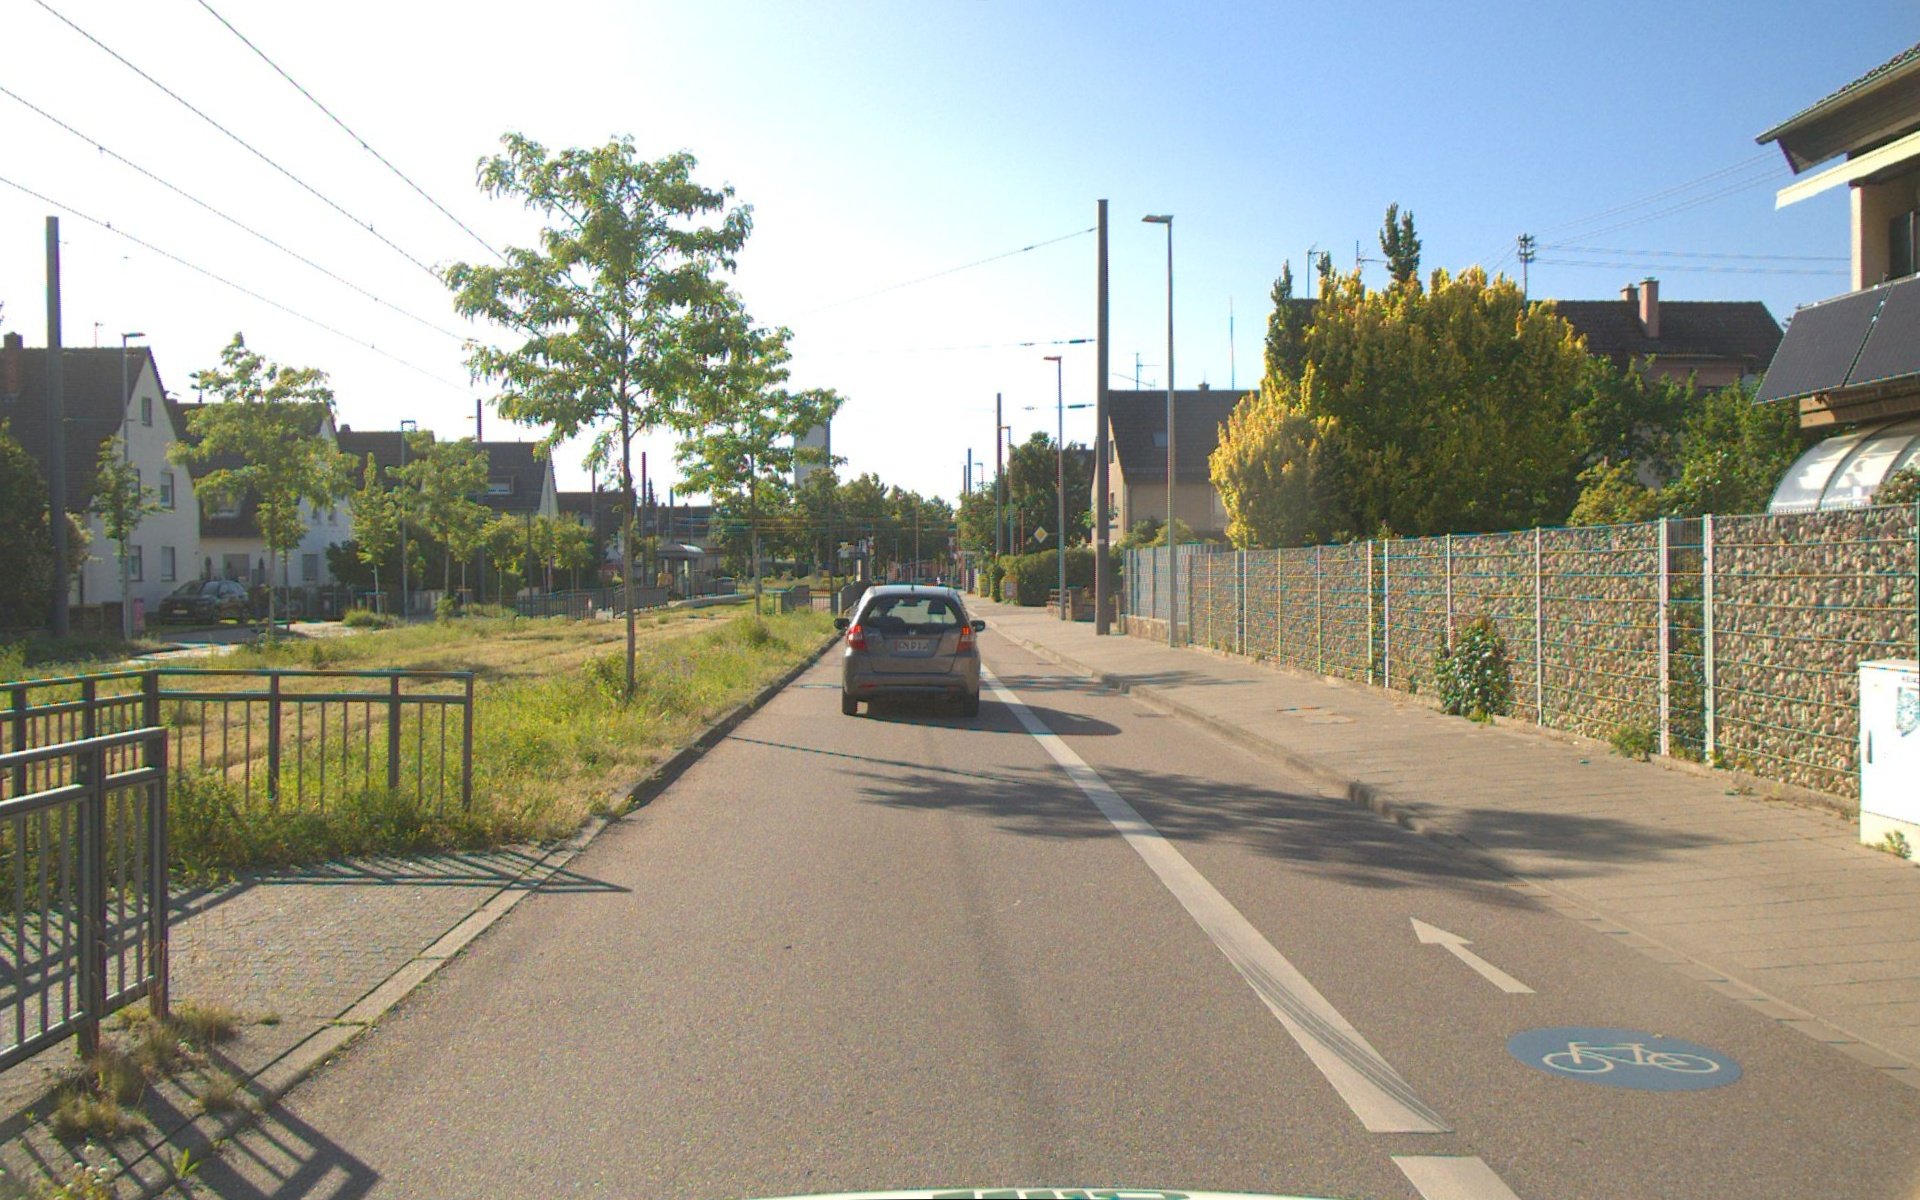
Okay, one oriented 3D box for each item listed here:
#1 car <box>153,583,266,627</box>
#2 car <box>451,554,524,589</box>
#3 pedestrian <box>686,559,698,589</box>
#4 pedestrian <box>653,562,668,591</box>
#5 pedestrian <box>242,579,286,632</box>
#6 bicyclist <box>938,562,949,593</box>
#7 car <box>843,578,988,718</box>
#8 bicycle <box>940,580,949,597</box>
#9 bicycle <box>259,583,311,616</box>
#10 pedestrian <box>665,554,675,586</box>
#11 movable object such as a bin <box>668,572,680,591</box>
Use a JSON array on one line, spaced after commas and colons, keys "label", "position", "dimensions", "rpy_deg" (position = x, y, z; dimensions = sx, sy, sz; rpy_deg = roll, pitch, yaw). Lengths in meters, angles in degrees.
[{"label": "car", "position": [-27.198, 0.147, 60.162], "dimensions": [1.895, 1.475, 5.161], "rpy_deg": [-1, 1, -2]}, {"label": "car", "position": [-27.513, -1.661, 96.400], "dimensions": [3.914, 2.004, 1.929], "rpy_deg": [1, 0, -10]}, {"label": "pedestrian", "position": [-15.811, -1.527, 97.695], "dimensions": [0.490, 1.725, 0.771], "rpy_deg": [-3, 1, -1]}, {"label": "pedestrian", "position": [-15.965, -1.250, 88.172], "dimensions": [0.662, 1.562, 0.748], "rpy_deg": [-1, 1, -6]}, {"label": "pedestrian", "position": [-22.516, 0.157, 53.498], "dimensions": [0.945, 1.669, 1.085], "rpy_deg": [-1, 1, -2]}, {"label": "bicyclist", "position": [-0.946, -1.270, 93.621], "dimensions": [0.586, 1.731, 0.683], "rpy_deg": [1, 0, -2]}, {"label": "car", "position": [-0.590, 0.534, 20.677], "dimensions": [1.637, 1.562, 3.485], "rpy_deg": [1, 1, -3]}, {"label": "bicycle", "position": [-0.884, -0.659, 93.769], "dimensions": [0.465, 0.978, 1.656], "rpy_deg": [1, 1, -2]}, {"label": "bicycle", "position": [-29.300, -0.035, 71.814], "dimensions": [1.952, 1.389, 0.703], "rpy_deg": [-1, 1, -9]}, {"label": "pedestrian", "position": [-15.849, -1.623, 90.390], "dimensions": [0.509, 1.738, 0.580], "rpy_deg": [-1, 1, -6]}, {"label": "movable object such as a bin", "position": [-15.266, -1.001, 88.364], "dimensions": [0.536, 1.005, 0.740], "rpy_deg": [-1, 1, -6]}]
